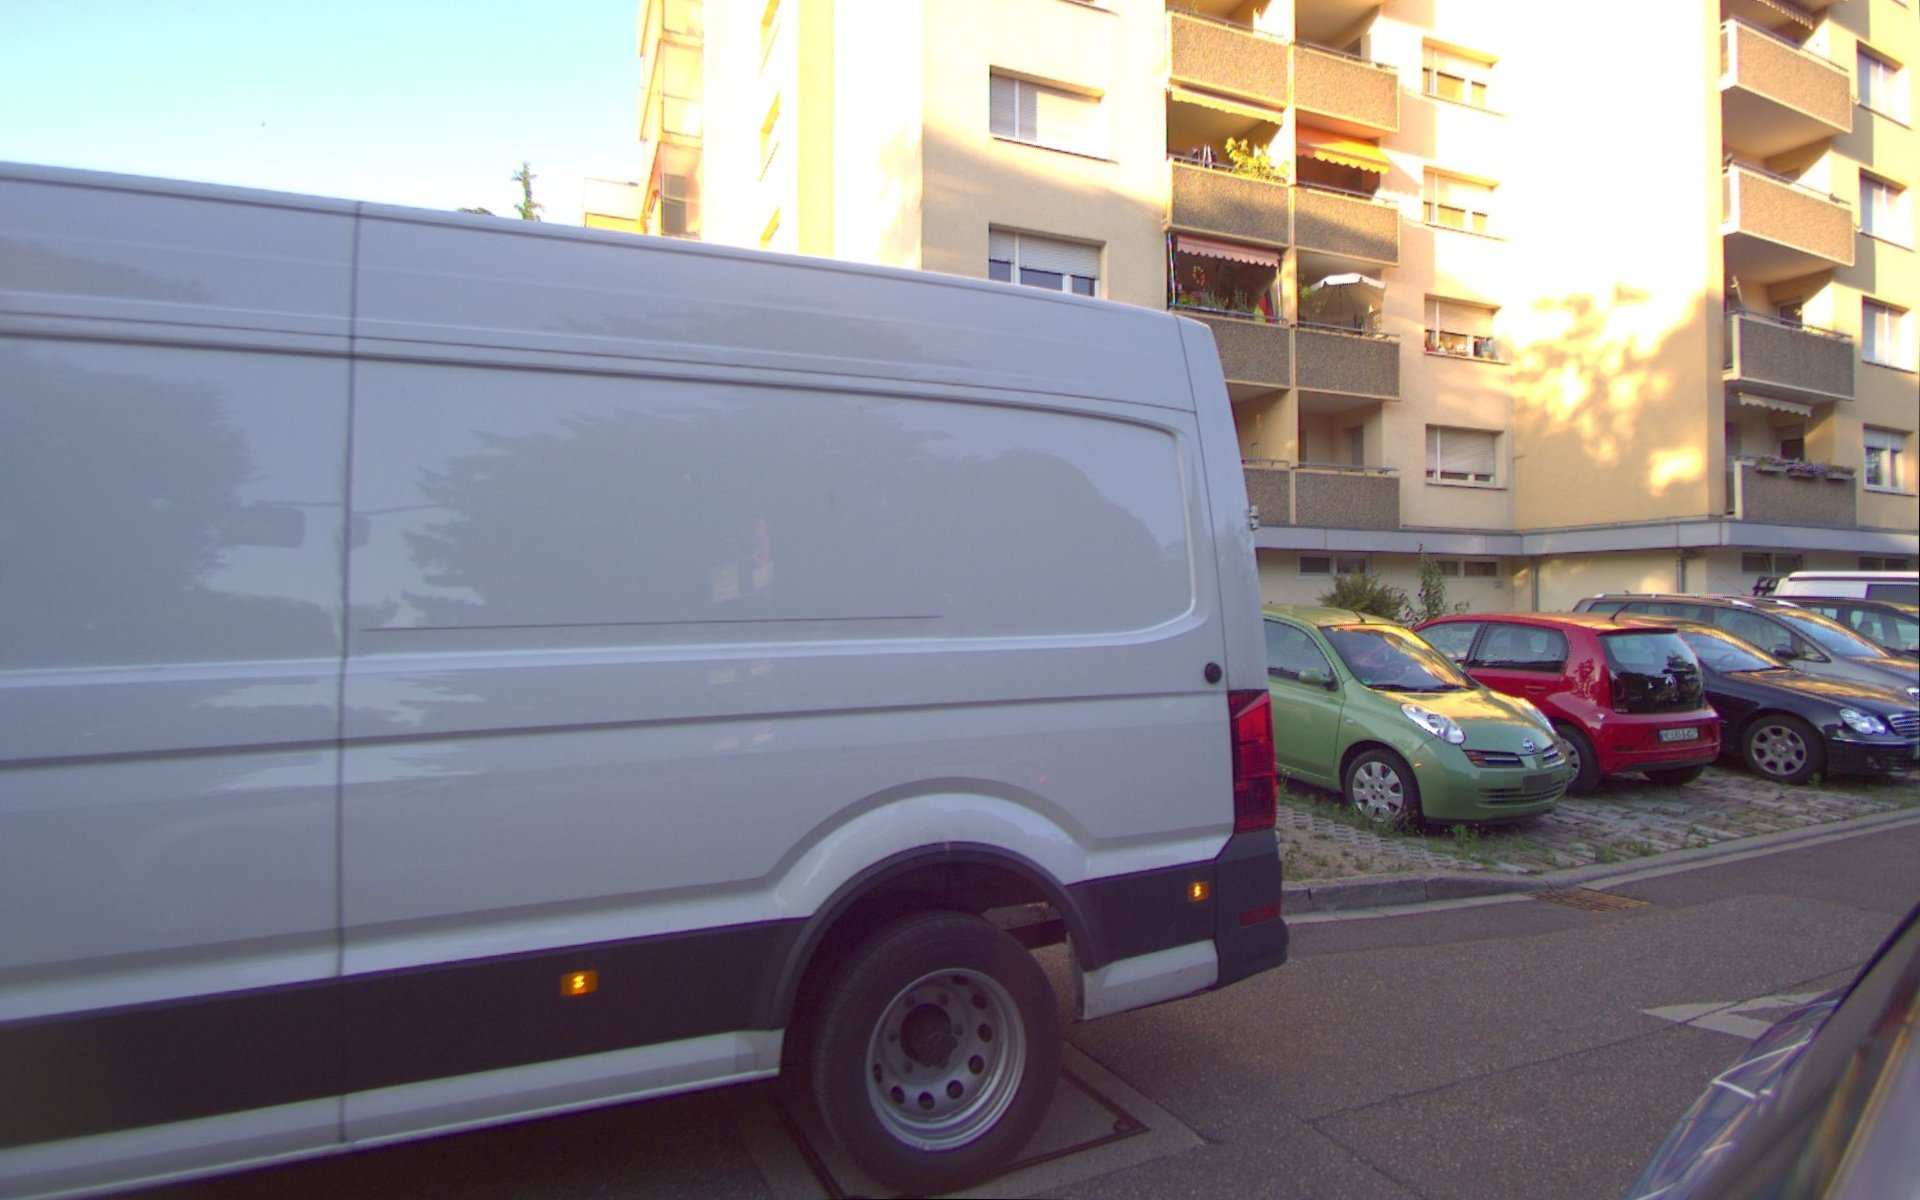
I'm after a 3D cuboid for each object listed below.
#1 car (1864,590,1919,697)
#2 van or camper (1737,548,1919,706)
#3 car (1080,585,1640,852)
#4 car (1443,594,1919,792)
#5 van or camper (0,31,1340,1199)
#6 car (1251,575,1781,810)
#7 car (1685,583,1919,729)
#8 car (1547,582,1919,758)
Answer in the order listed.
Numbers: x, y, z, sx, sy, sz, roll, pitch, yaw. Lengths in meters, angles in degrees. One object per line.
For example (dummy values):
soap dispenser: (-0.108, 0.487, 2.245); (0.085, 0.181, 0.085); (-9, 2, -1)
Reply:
car: (16.796, 0.701, 15.208); (1.808, 1.651, 4.425); (-2, 1, -26)
van or camper: (14.488, 0.387, 14.295); (1.999, 2.194, 5.159); (-1, 3, -27)
car: (3.074, 0.735, 8.849); (1.808, 1.651, 4.424); (-2, 1, -28)
car: (7.683, 0.754, 10.715); (1.808, 1.550, 4.424); (-2, 2, -28)
van or camper: (-2.164, 0.195, 2.990); (6.268, 2.652, 2.003); (-1, -2, -20)
car: (5.123, 0.657, 10.132); (1.807, 1.651, 4.429); (0, 3, -23)
car: (12.232, 0.685, 13.073); (1.746, 1.681, 4.347); (-2, 3, -28)
car: (9.841, 0.687, 12.273); (1.808, 1.681, 4.425); (-2, 3, -28)
